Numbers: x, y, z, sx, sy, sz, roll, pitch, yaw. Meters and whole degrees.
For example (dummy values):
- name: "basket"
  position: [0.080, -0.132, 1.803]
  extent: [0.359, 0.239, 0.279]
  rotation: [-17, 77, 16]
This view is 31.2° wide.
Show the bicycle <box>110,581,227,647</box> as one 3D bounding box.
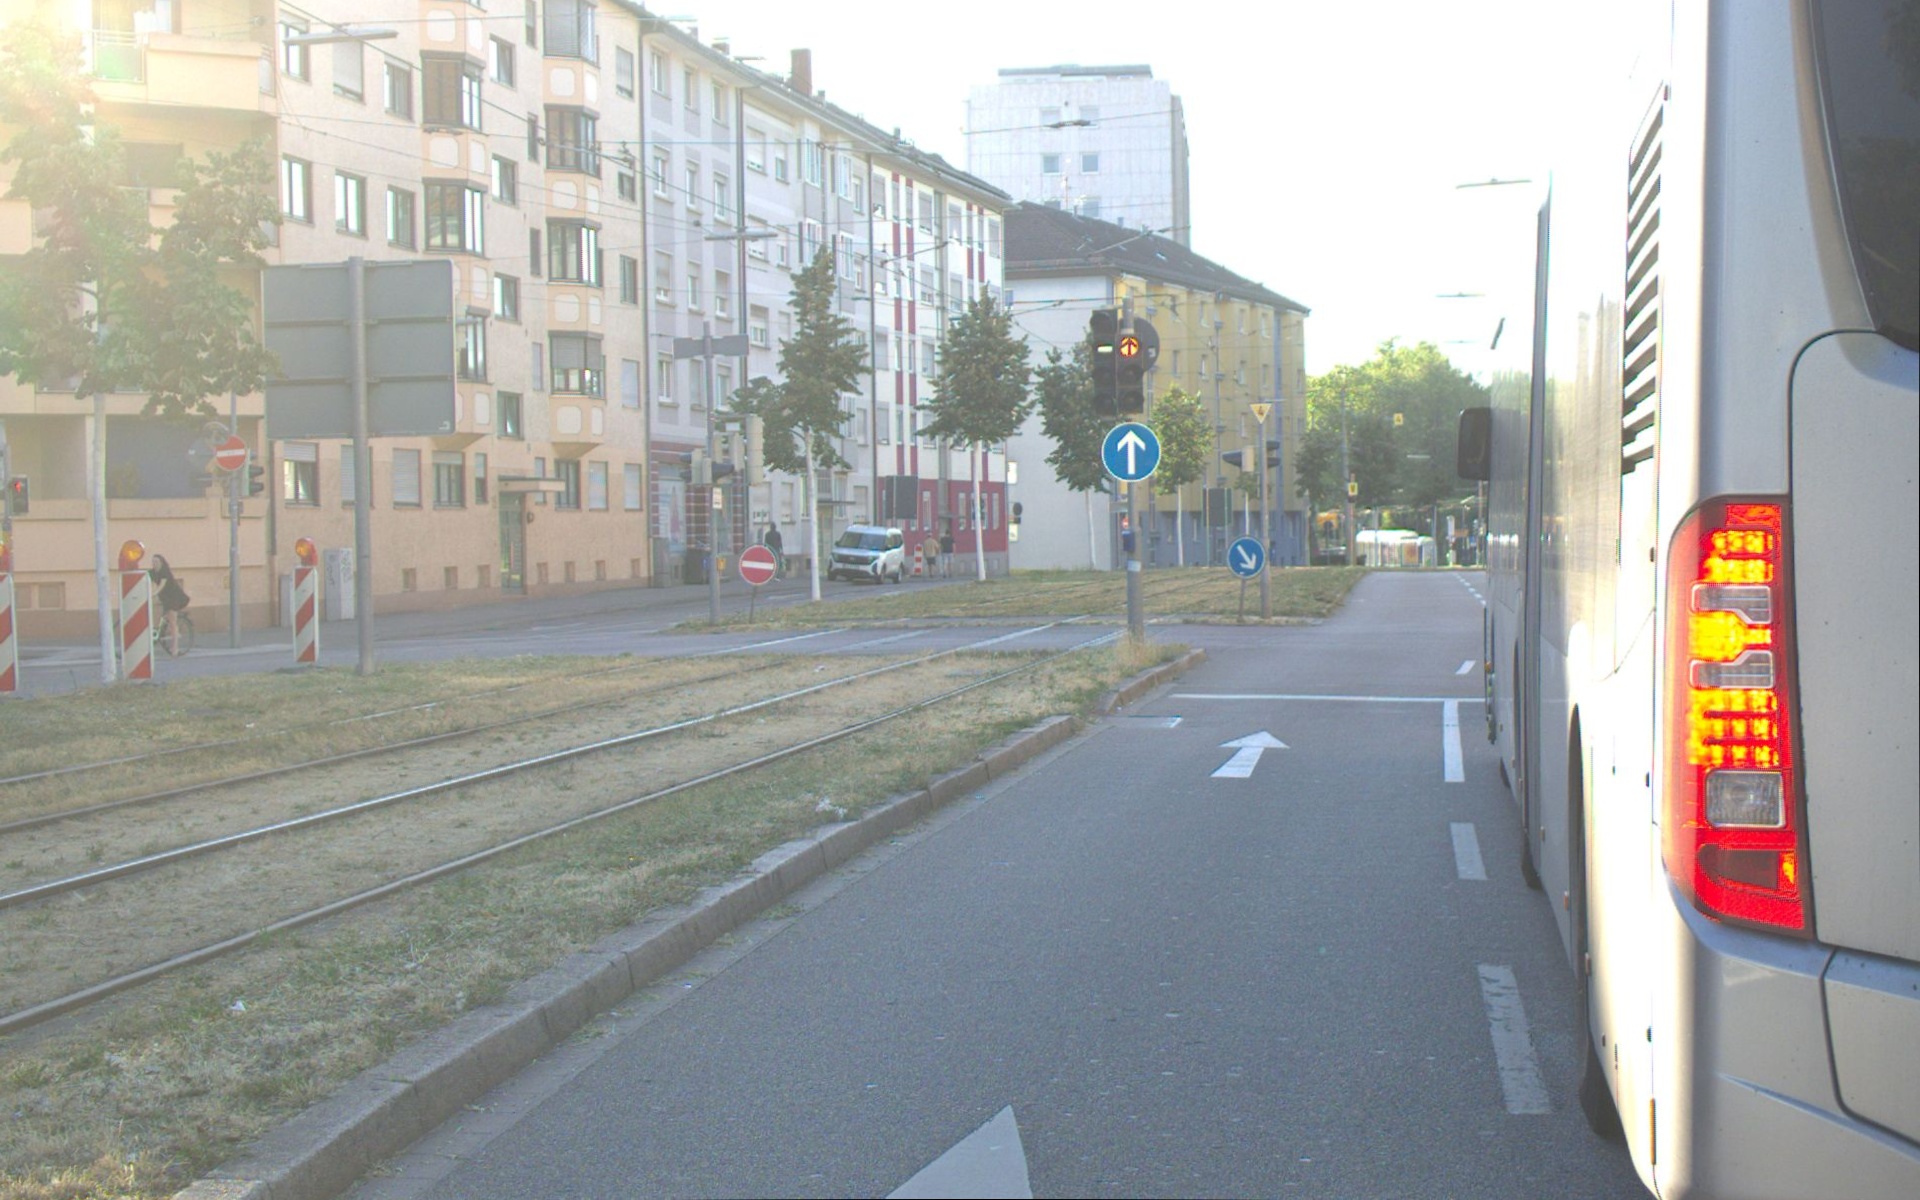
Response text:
- name: "bicycle"
  position: [-12.617, 0.217, 54.849]
  extent: [0.529, 0.980, 1.879]
  rotation: [-1, 1, 39]

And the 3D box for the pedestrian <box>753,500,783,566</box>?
- name: "pedestrian"
  position: [-5.883, -2.050, 105.475]
  extent: [0.786, 2.007, 0.890]
  rotation: [-1, 1, 5]

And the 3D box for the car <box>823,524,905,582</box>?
- name: "car"
  position: [-3.073, -1.518, 110.520]
  extent: [1.812, 1.791, 4.243]
  rotation: [-1, 1, 9]

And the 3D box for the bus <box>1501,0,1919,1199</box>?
- name: "bus"
  position: [2.953, -0.197, 9.288]
  extent: [2.739, 3.045, 8.851]
  rotation: [1, 1, 8]

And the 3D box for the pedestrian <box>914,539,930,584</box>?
- name: "pedestrian"
  position: [-1.385, -1.400, 125.206]
  extent: [0.496, 1.652, 0.408]
  rotation: [-1, 1, 9]

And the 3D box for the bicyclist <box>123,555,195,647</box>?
- name: "bicyclist"
  position: [-12.746, 0.013, 54.703]
  extent: [0.529, 1.442, 0.963]
  rotation: [-1, 1, 39]

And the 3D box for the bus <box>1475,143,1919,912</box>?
- name: "bus"
  position: [4.177, -0.384, 18.166]
  extent: [2.739, 3.045, 9.128]
  rotation: [1, 1, 8]

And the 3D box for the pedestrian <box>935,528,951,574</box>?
- name: "pedestrian"
  position: [-0.612, -1.784, 125.561]
  extent: [0.496, 1.652, 0.408]
  rotation: [-1, 1, 9]
